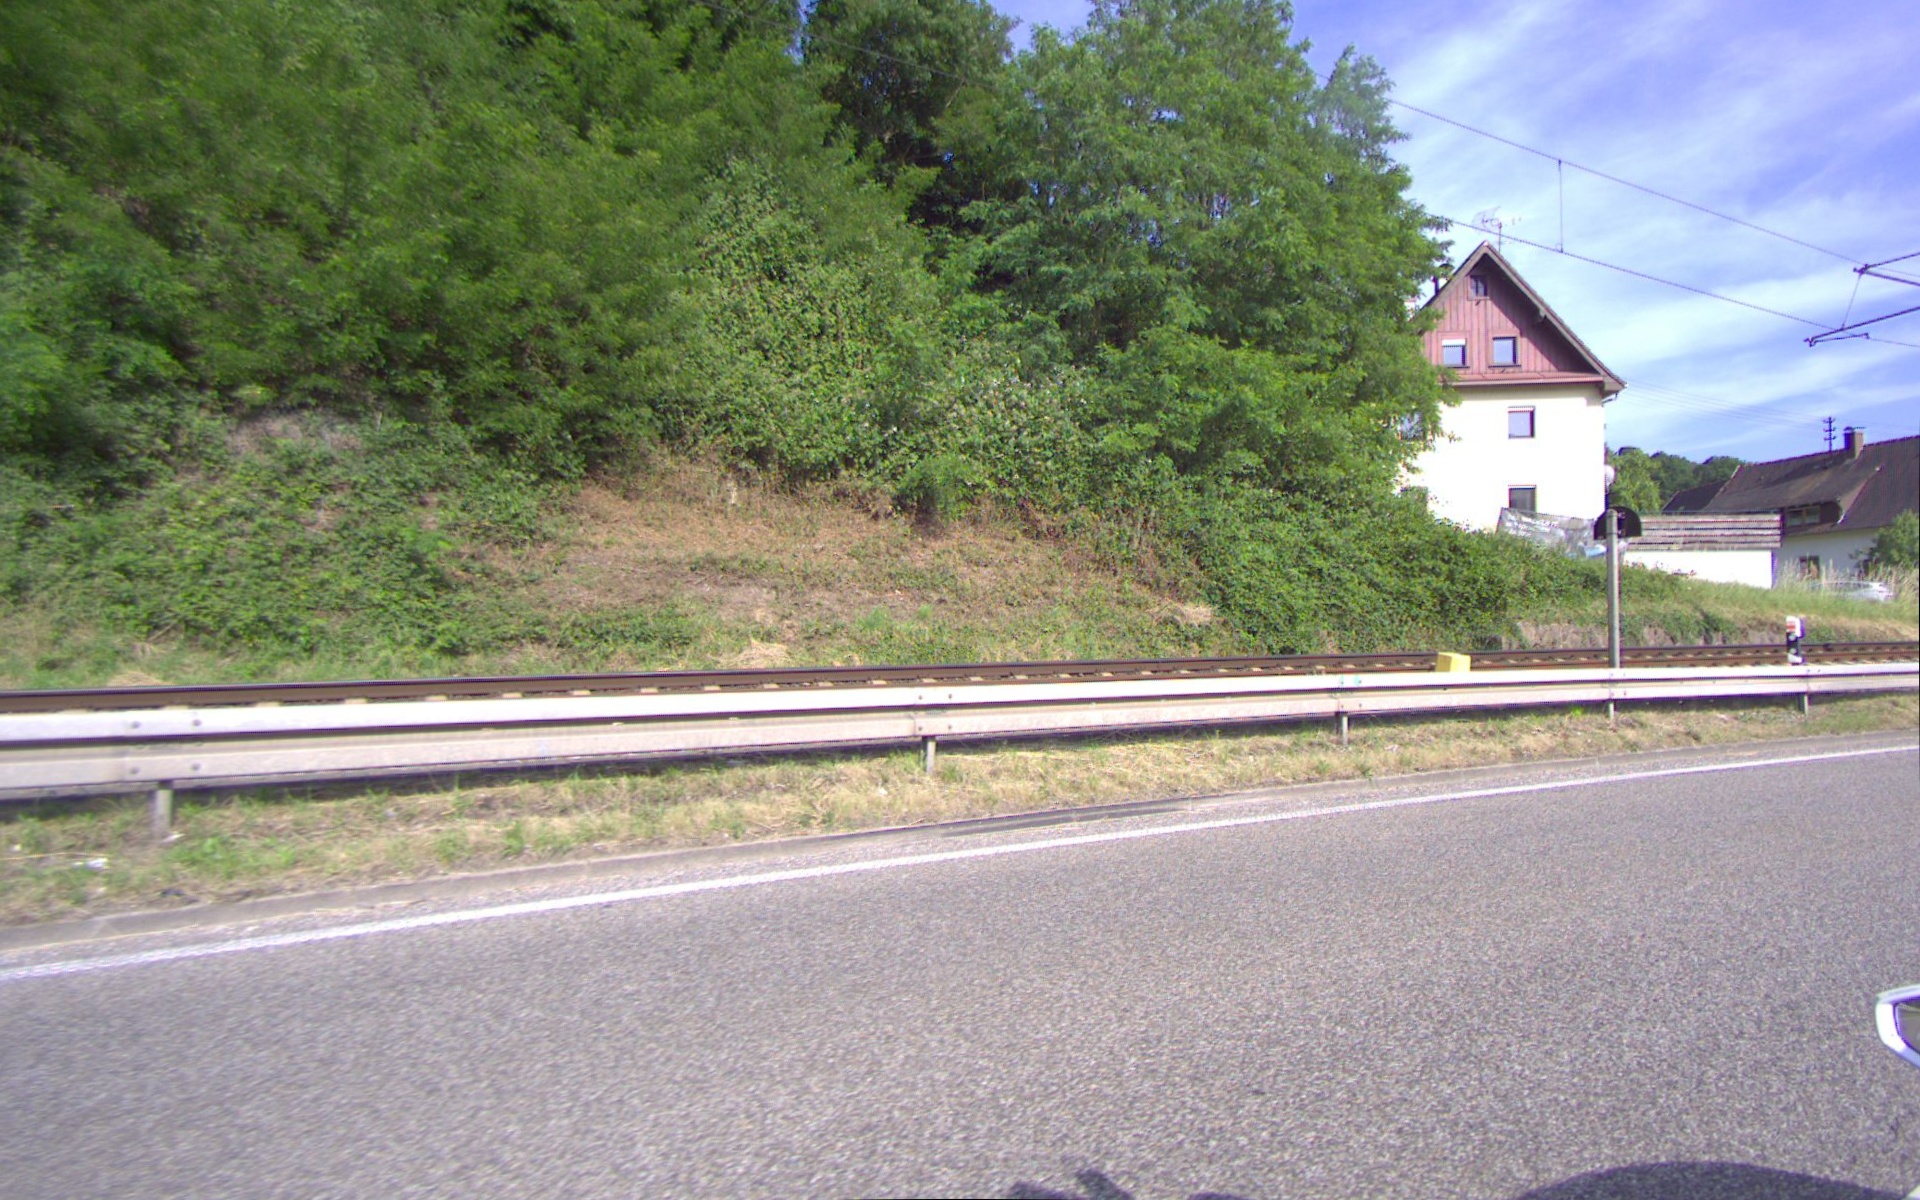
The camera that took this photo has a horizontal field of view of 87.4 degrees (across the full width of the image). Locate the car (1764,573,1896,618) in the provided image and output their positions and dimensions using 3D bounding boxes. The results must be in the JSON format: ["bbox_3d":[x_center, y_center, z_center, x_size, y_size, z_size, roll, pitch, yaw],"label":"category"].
[{"bbox_3d":[35.436,-0.170,41.045,3.965,1.697,1.642,-1,2,39],"label":"car"}]
